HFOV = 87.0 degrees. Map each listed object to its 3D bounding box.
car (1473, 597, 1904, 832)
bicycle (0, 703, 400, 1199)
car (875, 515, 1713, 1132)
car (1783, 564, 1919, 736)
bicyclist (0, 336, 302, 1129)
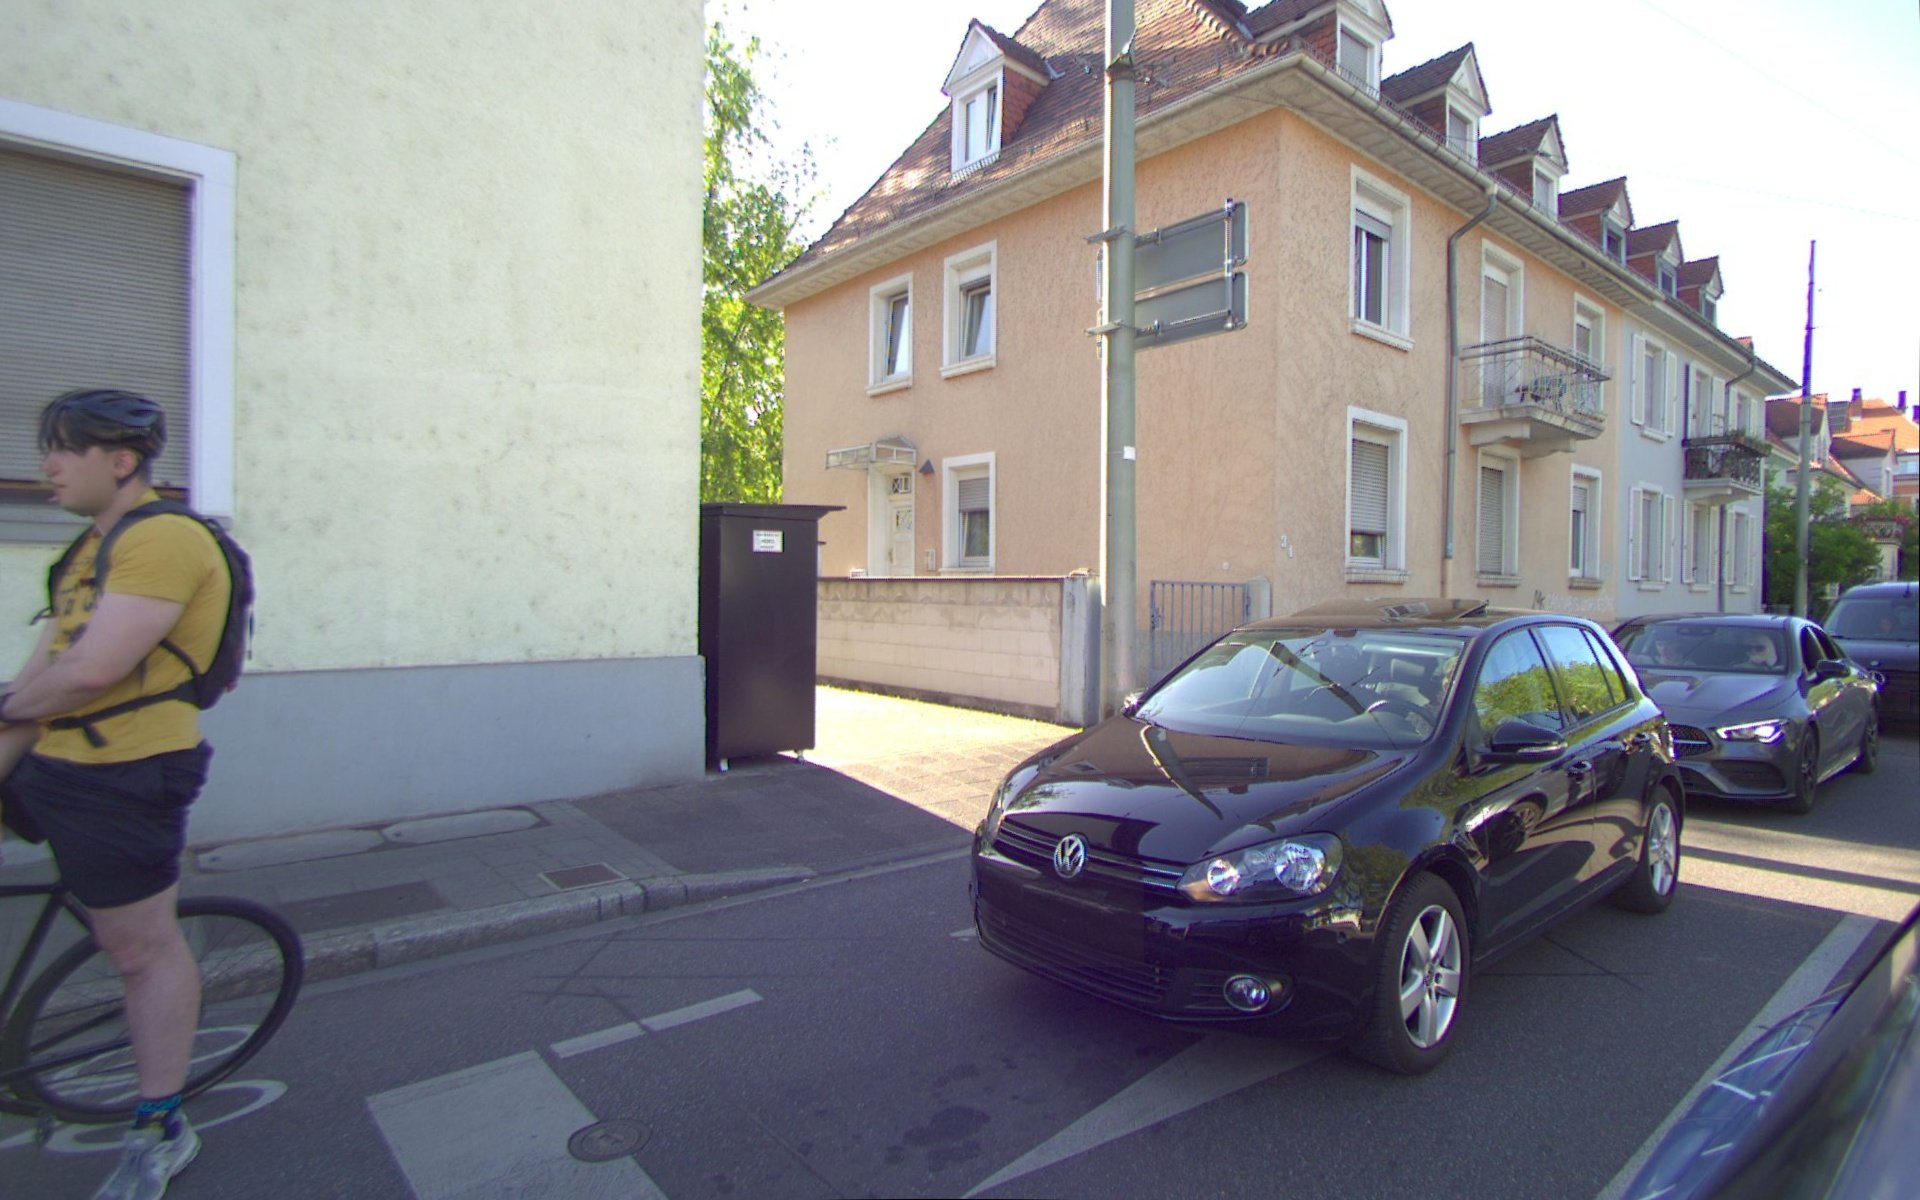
[{"bbox_3d":[6.272,0.710,8.517,4.413,1.437,1.911,-1,0,-40],"label":"car"},{"bbox_3d":[-2.379,0.862,2.386,1.749,1.044,0.756,-1,0,-40],"label":"bicycle"},{"bbox_3d":[1.752,0.596,4.483,3.979,1.527,1.731,2,-1,-41],"label":"car"},{"bbox_3d":[11.807,0.503,12.424,4.695,1.827,1.864,-1,0,-41],"label":"car"},{"bbox_3d":[-2.215,0.278,2.528,0.868,1.684,0.807,0,0,-40],"label":"bicyclist"}]
